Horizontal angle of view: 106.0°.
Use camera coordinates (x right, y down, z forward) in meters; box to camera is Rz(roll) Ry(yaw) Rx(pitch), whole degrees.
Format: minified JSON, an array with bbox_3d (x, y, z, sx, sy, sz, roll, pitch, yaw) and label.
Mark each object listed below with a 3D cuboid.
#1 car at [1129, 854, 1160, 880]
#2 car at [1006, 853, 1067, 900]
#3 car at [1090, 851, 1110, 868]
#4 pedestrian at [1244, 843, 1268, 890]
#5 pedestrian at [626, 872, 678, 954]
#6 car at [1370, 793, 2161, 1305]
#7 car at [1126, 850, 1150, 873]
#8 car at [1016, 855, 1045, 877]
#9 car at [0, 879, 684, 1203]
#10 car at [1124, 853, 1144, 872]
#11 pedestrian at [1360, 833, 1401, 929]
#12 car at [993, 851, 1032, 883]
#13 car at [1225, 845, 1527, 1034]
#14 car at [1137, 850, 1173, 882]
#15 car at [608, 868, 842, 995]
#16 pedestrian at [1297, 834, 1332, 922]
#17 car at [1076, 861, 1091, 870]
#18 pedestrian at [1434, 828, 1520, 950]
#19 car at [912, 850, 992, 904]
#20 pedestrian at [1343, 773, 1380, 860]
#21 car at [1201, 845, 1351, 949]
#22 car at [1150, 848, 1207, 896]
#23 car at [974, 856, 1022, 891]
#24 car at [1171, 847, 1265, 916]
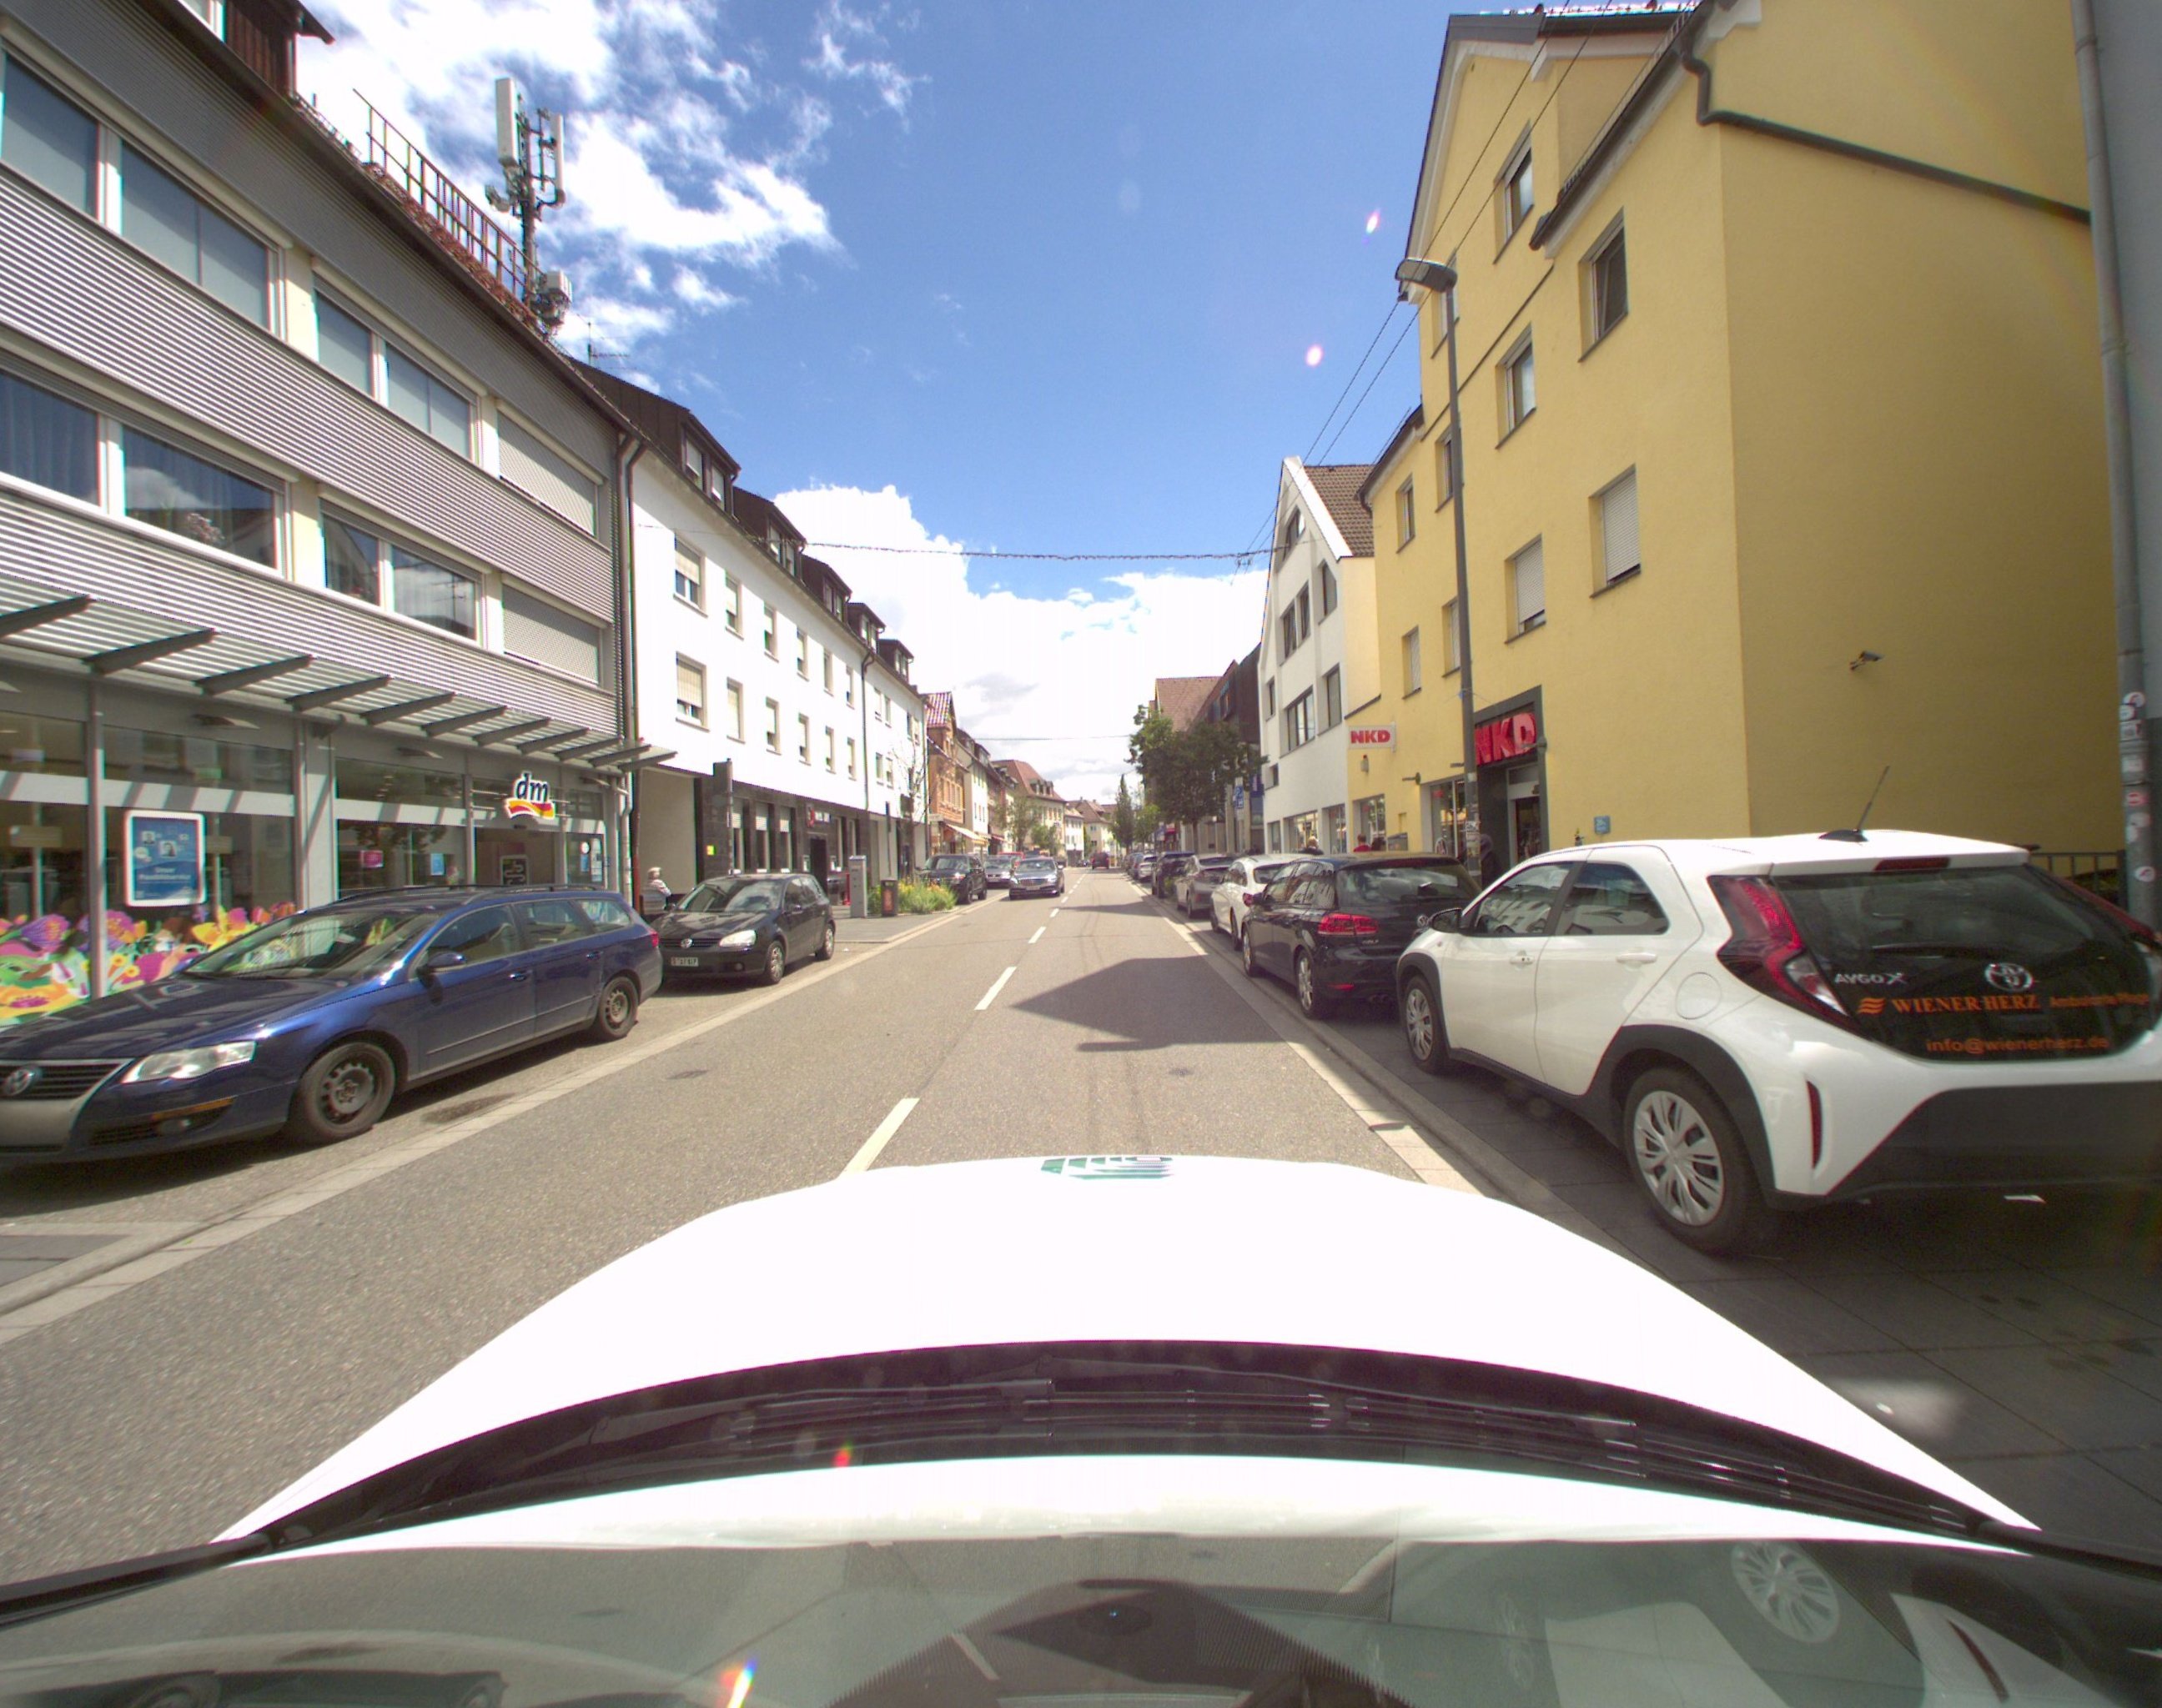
[{"bbox_3d":[3.758,0.761,48.744,1.714,1.494,4.111,0,-1,3],"label":"car"},{"bbox_3d":[-1.643,0.809,31.769,1.898,1.563,4.647,-3,0,2],"label":"car"},{"bbox_3d":[2.082,0.630,89.897,2.034,1.848,4.998,0,-1,0],"label":"car"},{"bbox_3d":[6.509,0.464,30.363,0.738,1.737,0.757,0,-1,1],"label":"pedestrian"},{"bbox_3d":[-7.891,1.072,14.991,0.652,1.455,0.563,0,-1,1],"label":"pedestrian"},{"bbox_3d":[3.045,0.627,4.404,1.683,1.574,3.756,0,-1,1],"label":"car"},{"bbox_3d":[4.153,0.513,59.690,1.603,1.532,3.797,-3,0,3],"label":"car"},{"bbox_3d":[-3.861,0.881,62.830,1.793,1.598,4.390,-1,0,1],"label":"car"},{"bbox_3d":[-5.248,1.013,6.417,1.783,1.513,4.714,-1,-1,2],"label":"car"},{"bbox_3d":[4.632,0.725,71.810,1.603,1.495,3.797,-5,0,3],"label":"car"},{"bbox_3d":[5.813,0.518,15.835,0.585,1.841,0.576,0,-1,1],"label":"pedestrian"},{"bbox_3d":[-4.140,0.794,50.021,1.809,1.889,4.843,0,-1,2],"label":"car"},{"bbox_3d":[2.777,0.663,8.827,1.683,1.472,4.524,0,1,0],"label":"car"},{"bbox_3d":[3.871,0.648,43.411,1.714,1.577,4.431,0,-1,3],"label":"car"},{"bbox_3d":[-5.015,0.985,12.168,1.786,1.503,4.174,0,0,-2],"label":"car"},{"bbox_3d":[4.993,0.507,17.465,0.585,1.841,0.576,0,-1,1],"label":"pedestrian"},{"bbox_3d":[0.413,1.815,131.262,1.613,1.486,3.818,-1,-1,13],"label":"car"},{"bbox_3d":[5.328,0.463,10.999,0.747,1.553,0.726,-2,-1,0],"label":"pedestrian"},{"bbox_3d":[-4.539,0.794,29.308,1.808,1.755,4.673,0,-1,4],"label":"car"},{"bbox_3d":[6.031,-0.789,17.516,0.585,1.841,0.576,0,-1,1],"label":"pedestrian"},{"bbox_3d":[3.151,0.655,14.147,1.624,1.476,4.960,0,-1,3],"label":"car"},{"bbox_3d":[3.365,0.631,28.766,1.714,1.577,4.111,0,-1,3],"label":"car"},{"bbox_3d":[-4.264,0.998,42.384,1.809,1.755,4.466,0,-1,3],"label":"car"},{"bbox_3d":[3.189,0.628,19.693,1.714,1.476,4.356,0,-1,3],"label":"car"}]
